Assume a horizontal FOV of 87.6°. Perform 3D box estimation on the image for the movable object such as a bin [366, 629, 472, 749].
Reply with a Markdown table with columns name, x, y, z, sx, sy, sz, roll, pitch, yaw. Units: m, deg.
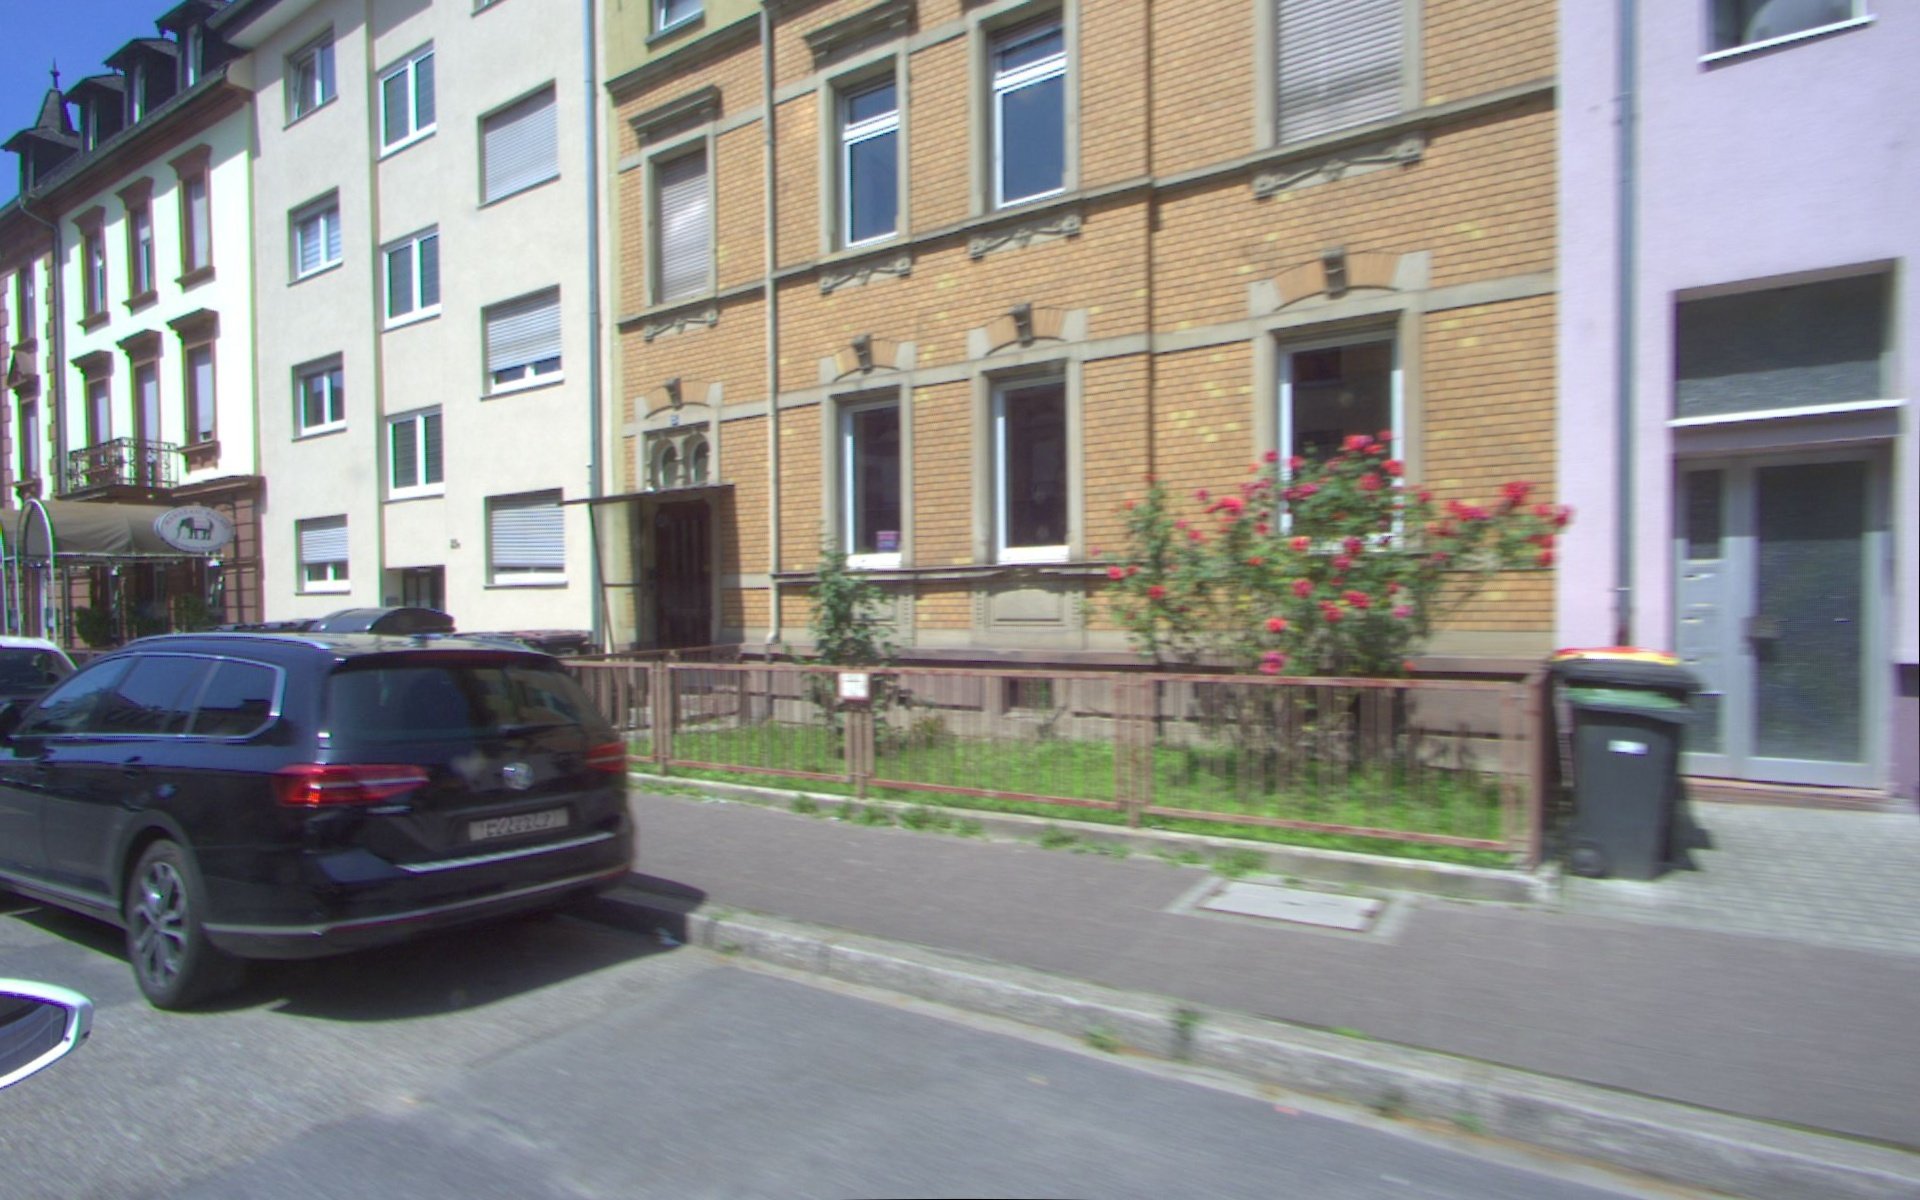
| name | x | y | z | sx | sy | sz | roll | pitch | yaw |
| --- | --- | --- | --- | --- | --- | --- | --- | --- | --- |
| movable object such as a bin | -5.687 | 0.904 | 10.534 | 0.898 | 1.192 | 0.637 | 0 | -1 | 34 |

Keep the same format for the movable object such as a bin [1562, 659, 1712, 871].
| name | x | y | z | sx | sy | sz | roll | pitch | yaw |
| --- | --- | --- | --- | --- | --- | --- | --- | --- | --- |
| movable object such as a bin | 3.723 | 0.872 | 5.539 | 0.658 | 1.046 | 0.526 | 0 | 1 | 33 |

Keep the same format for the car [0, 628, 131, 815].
| name | x | y | z | sx | sy | sz | roll | pitch | yaw |
| --- | --- | --- | --- | --- | --- | --- | --- | --- | --- |
| car | -9.205 | 0.980 | 8.948 | 3.943 | 1.459 | 1.657 | -1 | -2 | 33 |

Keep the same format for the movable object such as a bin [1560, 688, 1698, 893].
| name | x | y | z | sx | sy | sz | roll | pitch | yaw |
| --- | --- | --- | --- | --- | --- | --- | --- | --- | --- |
| movable object such as a bin | 3.395 | 0.938 | 5.114 | 0.556 | 0.925 | 0.466 | 0 | 1 | 31 |

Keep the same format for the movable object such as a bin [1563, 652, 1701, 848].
| name | x | y | z | sx | sy | sz | roll | pitch | yaw |
| --- | --- | --- | --- | --- | --- | --- | --- | --- | --- |
| movable object such as a bin | 4.019 | 0.860 | 6.021 | 0.658 | 1.064 | 0.558 | -1 | 0 | 33 |

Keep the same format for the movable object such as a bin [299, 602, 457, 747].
| name | x | y | z | sx | sy | sz | roll | pitch | yaw |
| --- | --- | --- | --- | --- | --- | --- | --- | --- | --- |
| movable object such as a bin | -6.657 | 0.813 | 11.460 | 1.426 | 1.537 | 1.040 | -1 | -1 | 34 |

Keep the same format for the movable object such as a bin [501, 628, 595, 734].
| name | x | y | z | sx | sy | sz | roll | pitch | yaw |
| --- | --- | --- | --- | --- | --- | --- | --- | --- | --- |
| movable object such as a bin | -4.859 | 0.928 | 11.810 | 0.840 | 1.192 | 0.666 | 0 | -1 | 34 |

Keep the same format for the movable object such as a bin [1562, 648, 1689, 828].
| name | x | y | z | sx | sy | sz | roll | pitch | yaw |
| --- | --- | --- | --- | --- | --- | --- | --- | --- | --- |
| movable object such as a bin | 4.308 | 0.862 | 6.515 | 0.658 | 1.064 | 0.558 | -1 | 0 | 32 |

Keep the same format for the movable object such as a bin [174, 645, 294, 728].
| name | x | y | z | sx | sy | sz | roll | pitch | yaw |
| --- | --- | --- | --- | --- | --- | --- | --- | --- | --- |
| movable object such as a bin | -9.768 | 1.136 | 13.481 | 0.978 | 1.036 | 1.040 | -1 | -1 | 34 |

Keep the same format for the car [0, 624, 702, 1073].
| name | x | y | z | sx | sy | sz | roll | pitch | yaw |
| --- | --- | --- | --- | --- | --- | --- | --- | --- | --- |
| car | -3.691 | 0.888 | 5.327 | 4.551 | 1.483 | 1.858 | -1 | -2 | 31 |

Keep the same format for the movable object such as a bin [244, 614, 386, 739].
| name | x | y | z | sx | sy | sz | roll | pitch | yaw |
| --- | --- | --- | --- | --- | --- | --- | --- | --- | --- |
| movable object such as a bin | -7.820 | 0.890 | 12.151 | 1.237 | 1.420 | 1.040 | 0 | -1 | 34 |

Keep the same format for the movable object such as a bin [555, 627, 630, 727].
| name | x | y | z | sx | sy | sz | roll | pitch | yaw |
| --- | --- | --- | --- | --- | --- | --- | --- | --- | --- |
| movable object such as a bin | -4.570 | 0.940 | 12.459 | 0.617 | 1.192 | 0.637 | 0 | -1 | 34 |

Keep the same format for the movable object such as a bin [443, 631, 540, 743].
| name | x | y | z | sx | sy | sz | roll | pitch | yaw |
| --- | --- | --- | --- | --- | --- | --- | --- | --- | --- |
| movable object such as a bin | -5.242 | 0.946 | 11.208 | 0.840 | 1.202 | 0.637 | 0 | -1 | 34 |

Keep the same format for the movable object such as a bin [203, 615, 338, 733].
| name | x | y | z | sx | sy | sz | roll | pitch | yaw |
| --- | --- | --- | --- | --- | --- | --- | --- | --- | --- |
| movable object such as a bin | -8.845 | 0.918 | 12.849 | 1.237 | 1.420 | 1.040 | 0 | -1 | 34 |
